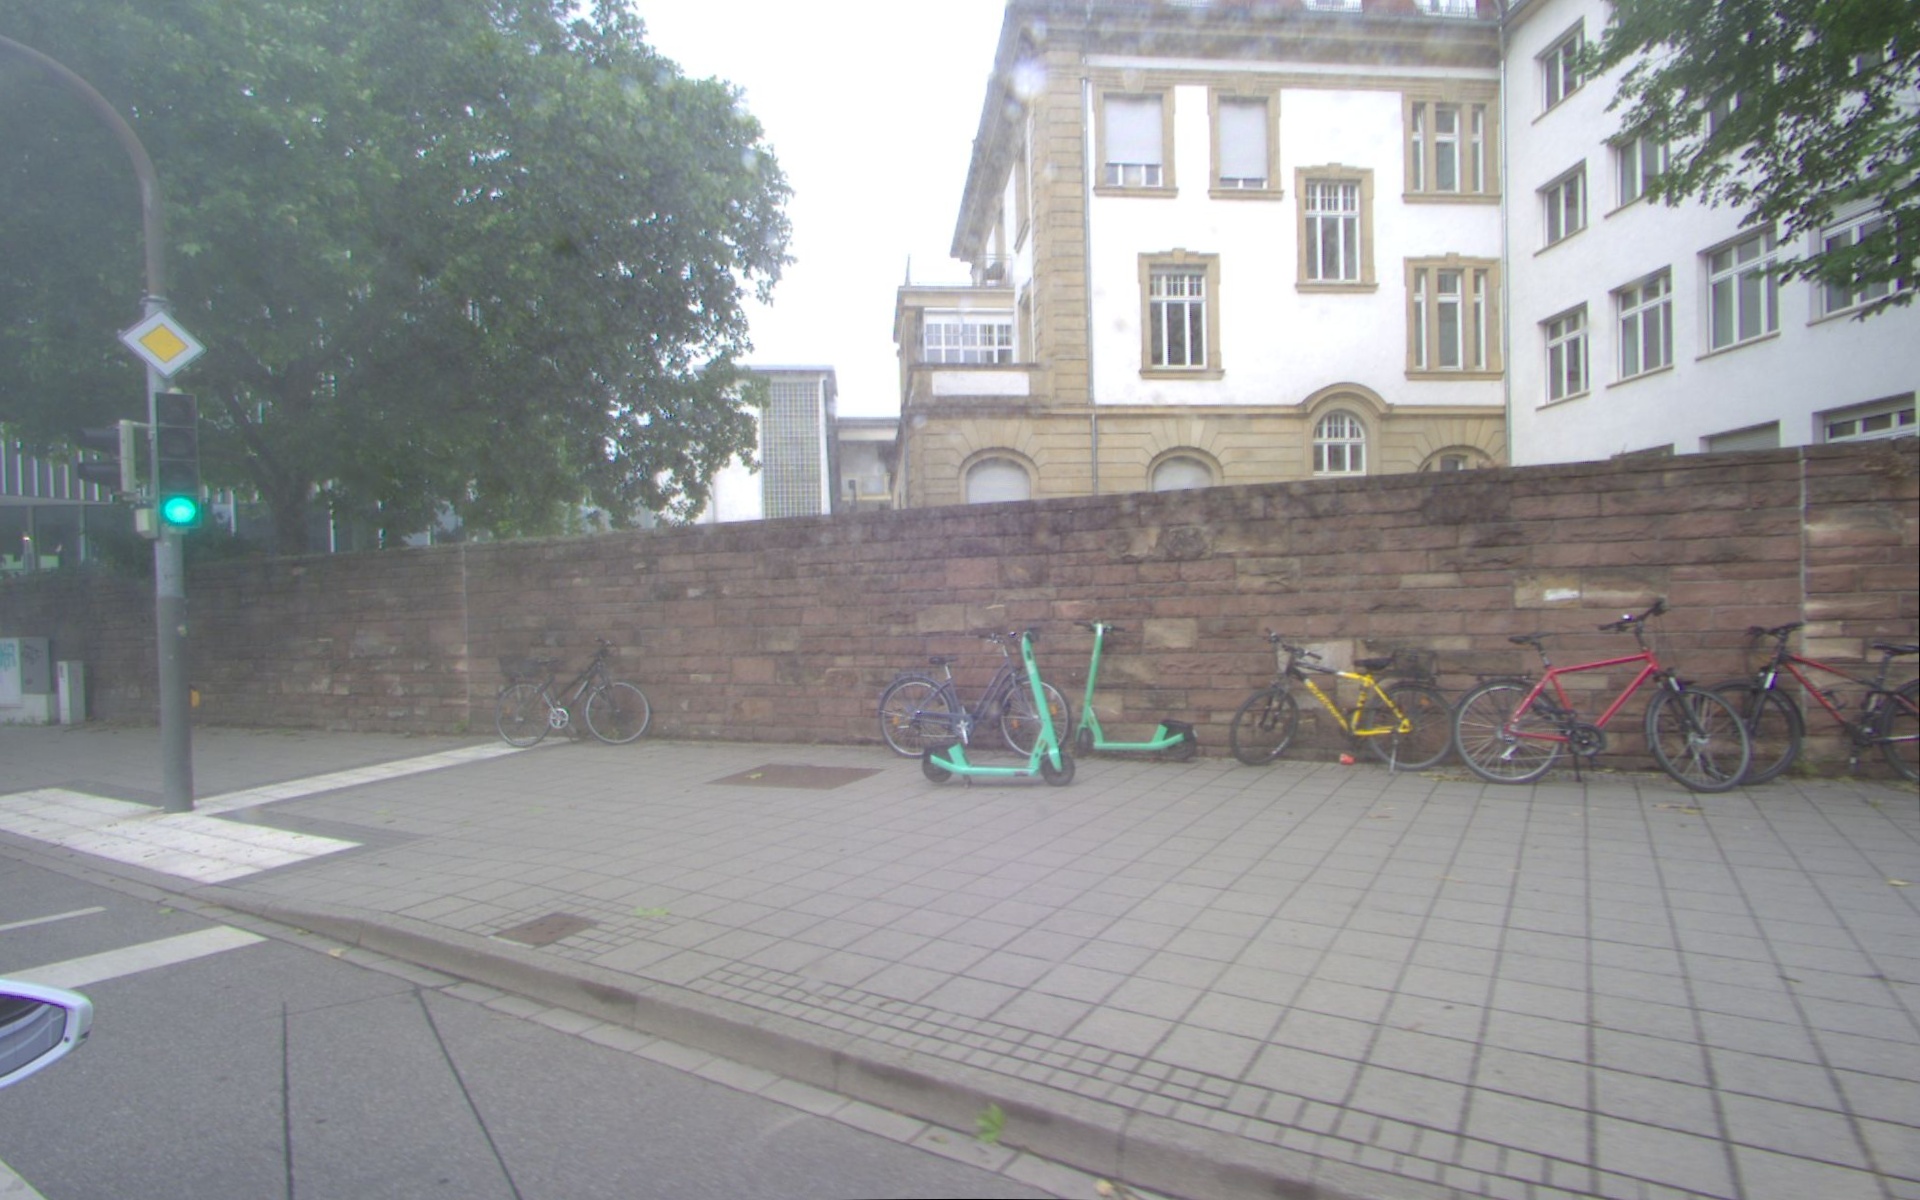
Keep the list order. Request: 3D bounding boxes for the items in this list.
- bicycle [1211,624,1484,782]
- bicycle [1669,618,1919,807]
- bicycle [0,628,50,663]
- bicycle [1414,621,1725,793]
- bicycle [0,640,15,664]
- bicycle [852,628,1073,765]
[{"bbox_3d":[2.936,0.774,7.724,1.905,1.158,0.386,-1,-1,12],"label":"bicycle"},{"bbox_3d":[5.706,0.702,6.378,1.907,1.158,0.339,-1,-1,17],"label":"bicycle"},{"bbox_3d":[-39.728,1.910,42.277,0.633,1.324,2.007,0,1,7],"label":"bicycle"},{"bbox_3d":[4.238,0.738,7.024,1.904,1.158,0.386,0,-1,1],"label":"bicycle"},{"bbox_3d":[-41.135,2.219,42.090,0.766,1.019,2.192,-1,0,-1],"label":"bicycle"},{"bbox_3d":[0.021,0.838,8.843,1.905,1.158,0.386,-1,-1,12],"label":"bicycle"}]
